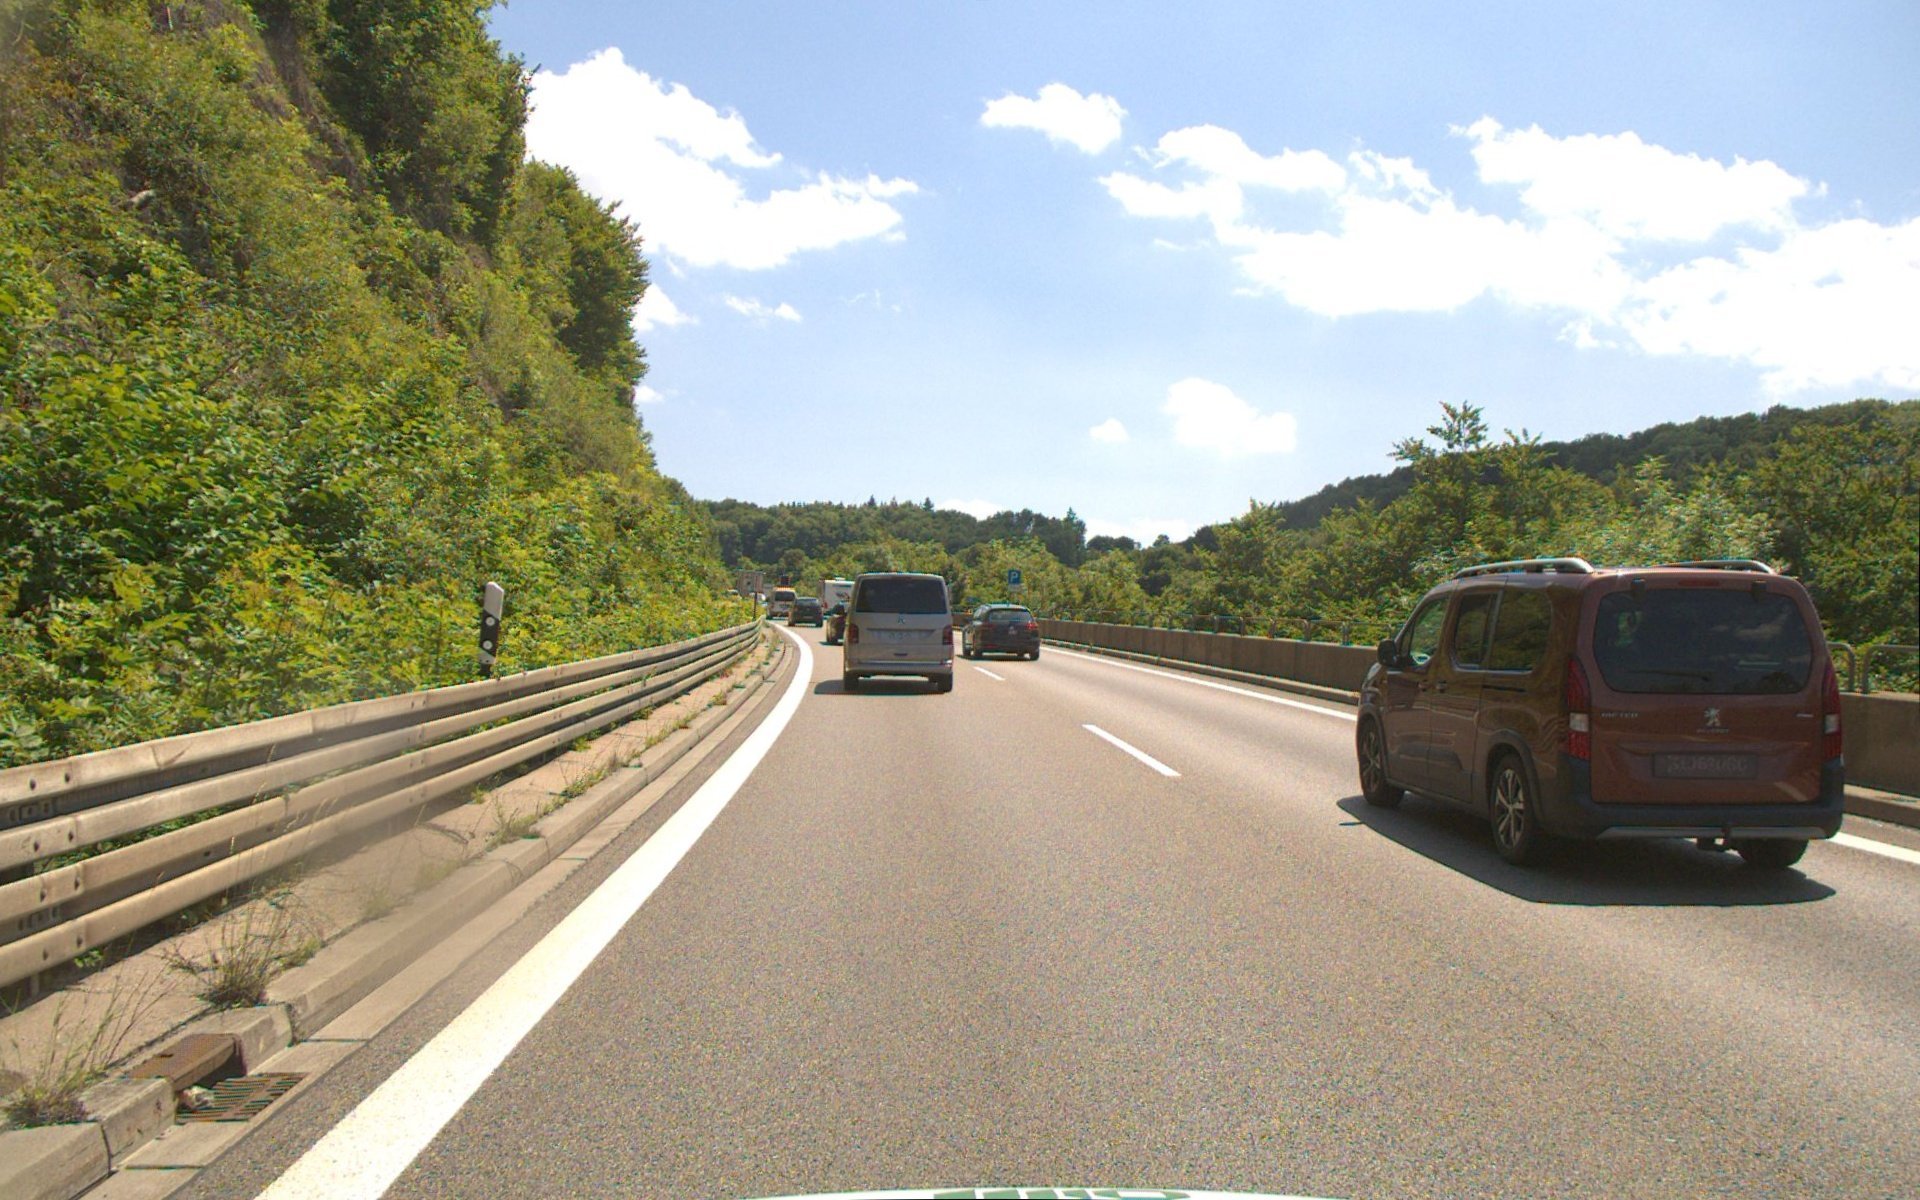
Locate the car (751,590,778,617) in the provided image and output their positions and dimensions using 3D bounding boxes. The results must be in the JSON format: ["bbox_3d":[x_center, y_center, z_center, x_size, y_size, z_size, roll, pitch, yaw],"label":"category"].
[{"bbox_3d":[-14.743,0.278,124.854,1.956,1.948,3.993,1,0,-7],"label":"car"}]

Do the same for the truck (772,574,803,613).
[{"bbox_3d":[-20.187,-0.758,193.716,3.226,4.407,7.723,0,-1,-3],"label":"truck"}]

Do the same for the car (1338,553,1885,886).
[{"bbox_3d":[4.149,0.693,11.487,1.796,1.815,4.673,1,-1,-2],"label":"car"}]

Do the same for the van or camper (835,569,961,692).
[{"bbox_3d":[-1.160,0.511,29.046,1.840,1.984,4.287,1,0,-7],"label":"van or camper"}]

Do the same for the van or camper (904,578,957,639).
[{"bbox_3d":[-1.306,0.379,71.971,2.218,2.596,4.735,0,-1,-1],"label":"van or camper"}]

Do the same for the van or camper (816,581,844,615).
[{"bbox_3d":[-15.229,-0.241,193.750,3.212,3.855,8.103,0,-1,-4],"label":"van or camper"}]

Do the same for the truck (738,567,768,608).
[{"bbox_3d":[-24.257,-1.413,193.897,3.231,4.599,7.712,0,-1,-9],"label":"truck"}]

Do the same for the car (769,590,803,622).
[{"bbox_3d":[-10.550,0.367,100.315,1.955,1.849,3.995,1,0,-6],"label":"car"}]

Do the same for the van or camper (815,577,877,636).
[{"bbox_3d":[-7.816,0.427,112.544,3.217,3.855,8.091,1,0,-11],"label":"van or camper"}]

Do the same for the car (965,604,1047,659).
[{"bbox_3d":[1.213,0.836,45.072,1.735,1.400,3.587,1,0,-7],"label":"car"}]

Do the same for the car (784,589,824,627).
[{"bbox_3d":[-7.941,0.391,84.050,1.955,1.849,3.995,1,0,-6],"label":"car"}]
